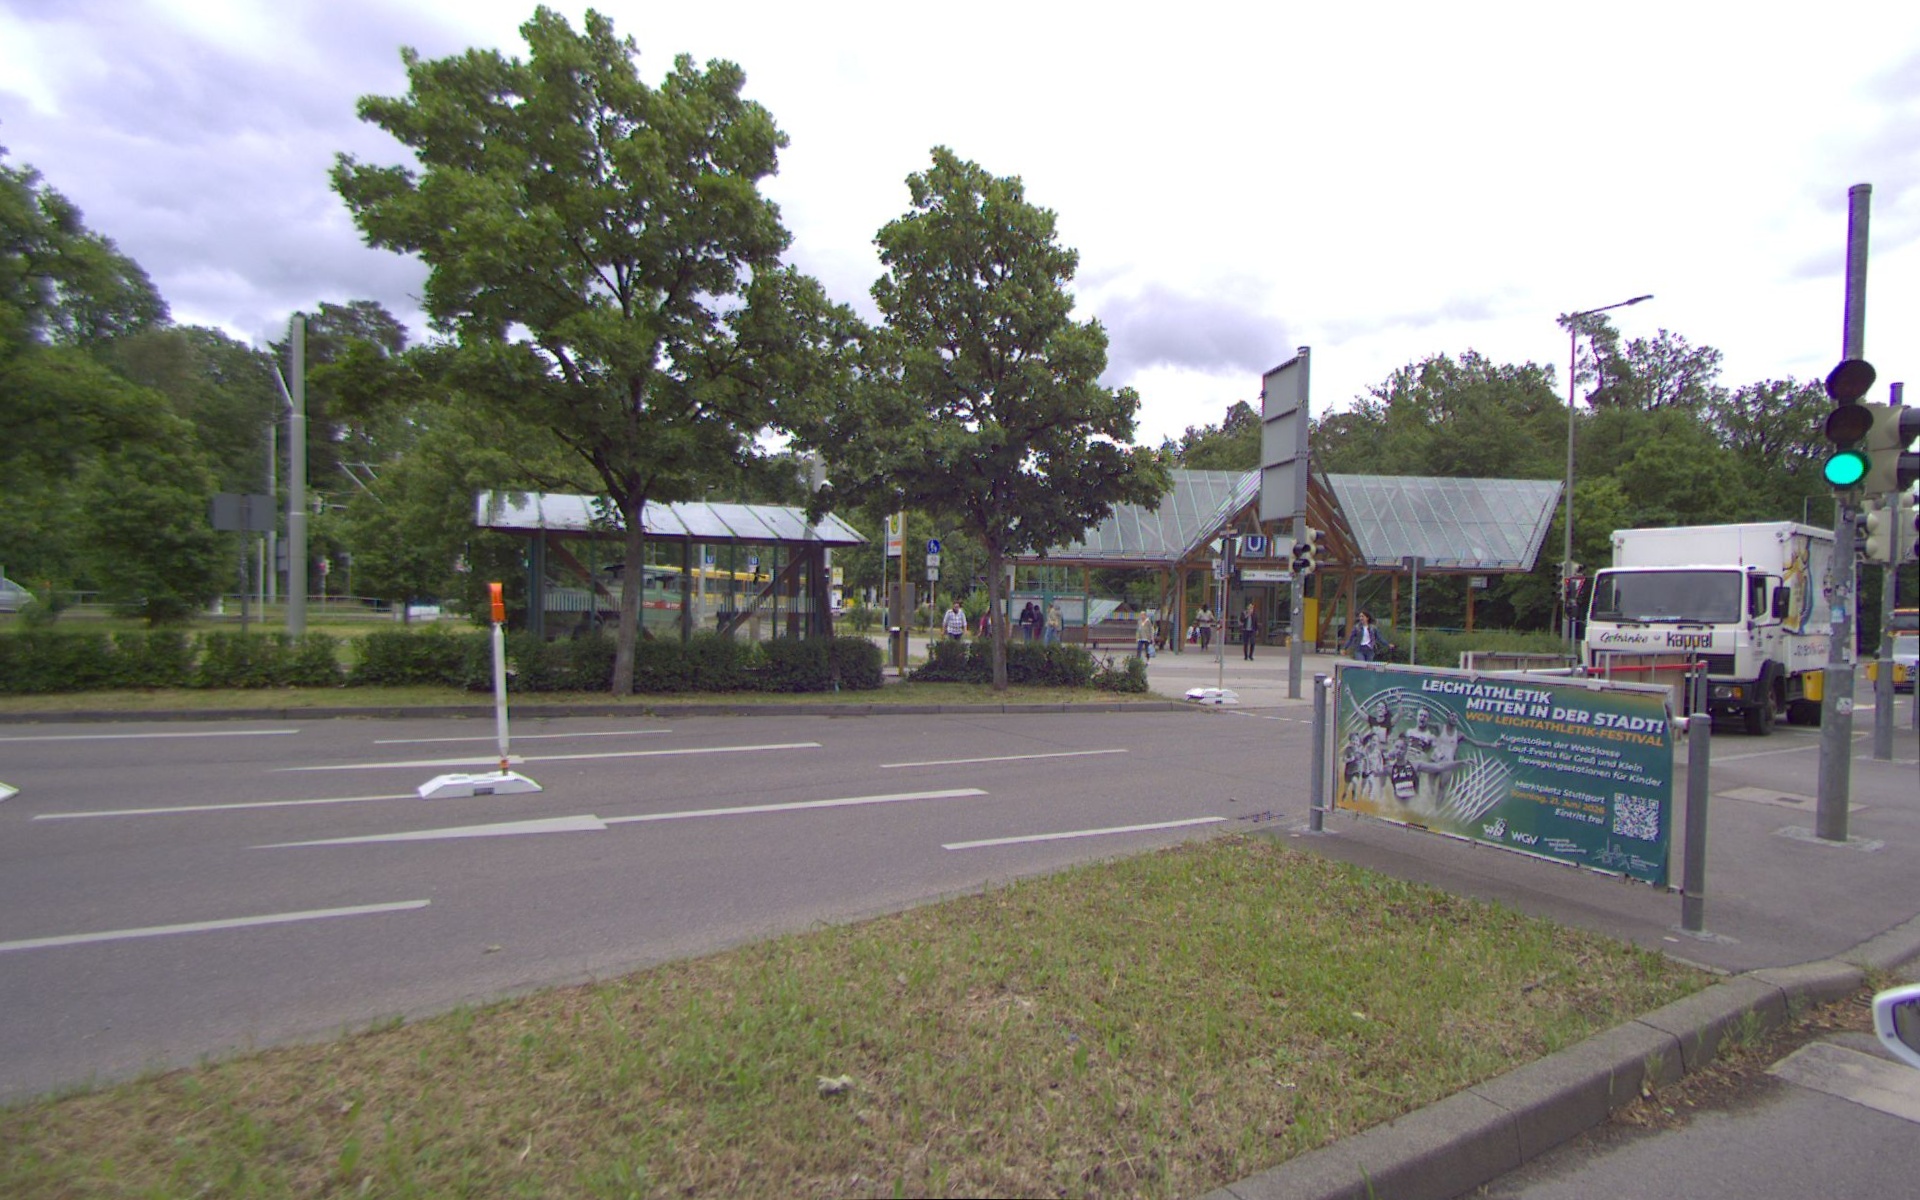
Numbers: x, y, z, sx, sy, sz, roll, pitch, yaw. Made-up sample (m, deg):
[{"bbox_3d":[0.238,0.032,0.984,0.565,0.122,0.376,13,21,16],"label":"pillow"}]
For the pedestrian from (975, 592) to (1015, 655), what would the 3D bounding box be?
[{"bbox_3d":[0.889,0.595,25.846,0.766,1.566,0.625,3,1,-23],"label":"pedestrian"}]

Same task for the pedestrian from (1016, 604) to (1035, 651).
[{"bbox_3d":[2.374,0.975,36.364,0.572,1.646,0.674,2,1,-1],"label":"pedestrian"}]

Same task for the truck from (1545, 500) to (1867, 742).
[{"bbox_3d":[12.387,0.398,16.517,6.148,3.281,2.610,2,-2,-37],"label":"truck"}]

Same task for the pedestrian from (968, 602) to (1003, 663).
[{"bbox_3d":[0.687,0.862,27.127,0.777,1.573,0.774,2,1,-7],"label":"pedestrian"}]

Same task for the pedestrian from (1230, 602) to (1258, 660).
[{"bbox_3d":[9.219,0.986,32.582,0.751,1.833,0.995,2,1,19],"label":"pedestrian"}]

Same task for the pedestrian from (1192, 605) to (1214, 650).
[{"bbox_3d":[8.959,1.005,37.050,0.662,1.618,0.673,2,1,9],"label":"pedestrian"}]

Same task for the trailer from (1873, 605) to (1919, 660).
[{"bbox_3d":[61.973,2.196,66.074,2.708,3.361,8.524,-1,-3,42],"label":"trailer"}]

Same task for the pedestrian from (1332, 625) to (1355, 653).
[{"bbox_3d":[14.512,1.475,38.058,0.558,0.997,0.546,1,1,-23],"label":"pedestrian"}]

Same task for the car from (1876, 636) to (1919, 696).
[{"bbox_3d":[26.282,1.781,27.045,4.271,1.528,1.794,3,-2,-39],"label":"car"}]

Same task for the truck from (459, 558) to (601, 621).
[{"bbox_3d":[-29.310,-0.713,69.048,3.716,3.933,8.766,3,1,24],"label":"truck"}]

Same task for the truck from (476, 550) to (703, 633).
[{"bbox_3d":[-11.018,-0.254,30.517,2.561,2.199,6.290,3,1,30],"label":"truck"}]

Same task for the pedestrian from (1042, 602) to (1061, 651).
[{"bbox_3d":[3.218,0.925,35.355,0.572,1.646,0.674,2,1,-1],"label":"pedestrian"}]

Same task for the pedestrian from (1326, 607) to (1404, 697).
[{"bbox_3d":[7.993,1.015,19.853,1.074,1.698,0.909,2,-1,-11],"label":"pedestrian"}]

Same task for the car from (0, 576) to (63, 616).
[{"bbox_3d":[-36.723,-0.160,38.773,1.470,1.495,2.744,2,1,21],"label":"car"}]

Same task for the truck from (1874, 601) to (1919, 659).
[{"bbox_3d":[58.322,1.933,61.995,2.708,3.361,7.122,-1,-3,42],"label":"truck"}]

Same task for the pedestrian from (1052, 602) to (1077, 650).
[{"bbox_3d":[3.710,0.927,35.788,0.576,1.646,0.669,1,1,-25],"label":"pedestrian"}]

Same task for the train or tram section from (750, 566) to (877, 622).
[{"bbox_3d":[-13.334,-0.590,95.492,3.515,4.595,20.659,2,1,17],"label":"train or tram section"}]

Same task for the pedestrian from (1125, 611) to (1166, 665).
[{"bbox_3d":[5.483,1.121,29.716,0.869,1.545,0.759,1,2,-41],"label":"pedestrian"}]

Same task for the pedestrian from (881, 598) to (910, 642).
[{"bbox_3d":[-2.491,0.775,38.735,0.772,1.646,0.767,3,2,35],"label":"pedestrian"}]

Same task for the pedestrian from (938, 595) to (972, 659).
[{"bbox_3d":[-0.141,0.735,27.330,0.674,1.688,0.867,2,1,-16],"label":"pedestrian"}]

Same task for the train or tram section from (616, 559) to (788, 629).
[{"bbox_3d":[-18.963,-0.476,76.632,3.515,4.595,18.688,2,1,17],"label":"train or tram section"}]

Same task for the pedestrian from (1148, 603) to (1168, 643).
[{"bbox_3d":[7.927,0.913,40.217,0.598,1.575,0.463,2,1,-16],"label":"pedestrian"}]

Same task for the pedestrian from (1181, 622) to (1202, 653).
[{"bbox_3d":[9.842,1.592,42.657,0.751,1.286,0.392,2,1,-2],"label":"pedestrian"}]
